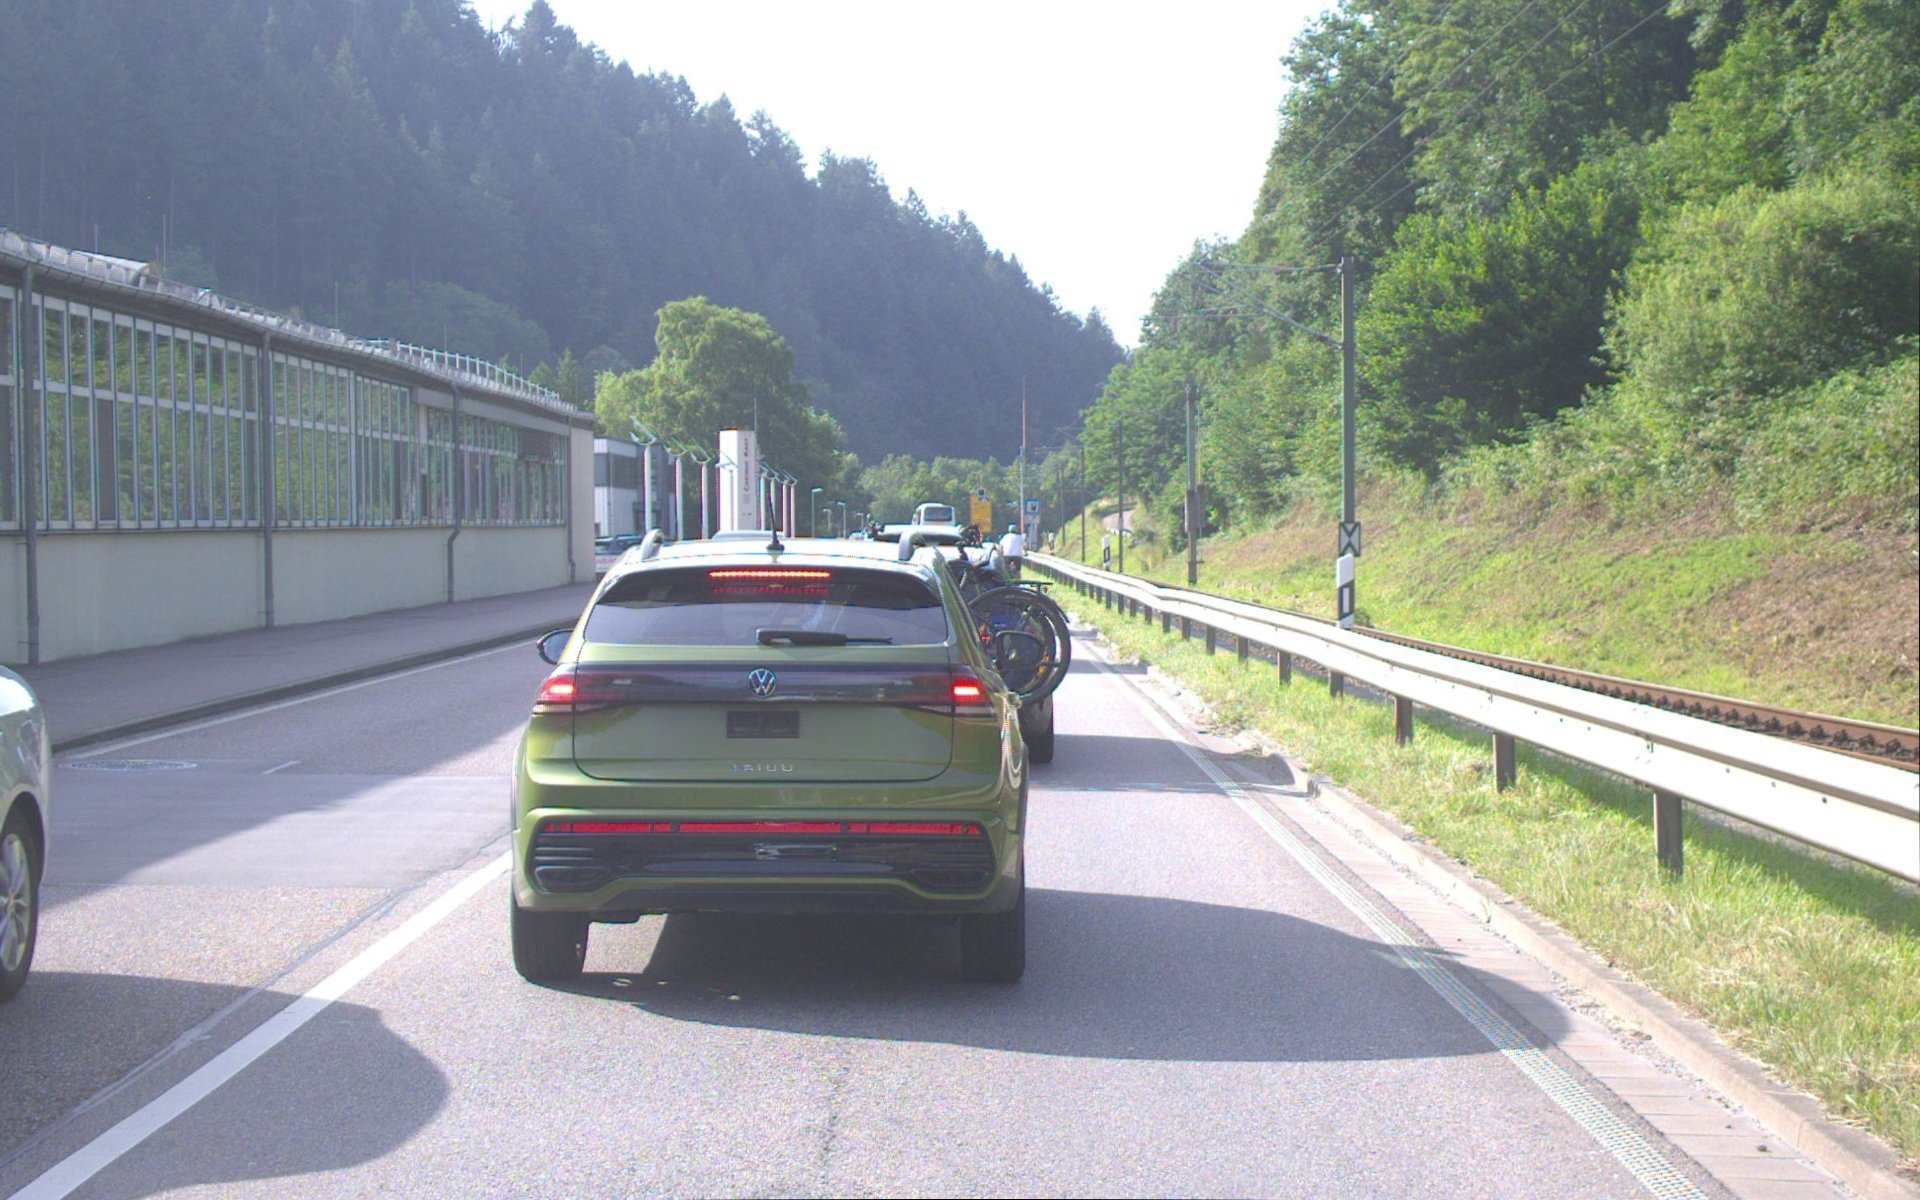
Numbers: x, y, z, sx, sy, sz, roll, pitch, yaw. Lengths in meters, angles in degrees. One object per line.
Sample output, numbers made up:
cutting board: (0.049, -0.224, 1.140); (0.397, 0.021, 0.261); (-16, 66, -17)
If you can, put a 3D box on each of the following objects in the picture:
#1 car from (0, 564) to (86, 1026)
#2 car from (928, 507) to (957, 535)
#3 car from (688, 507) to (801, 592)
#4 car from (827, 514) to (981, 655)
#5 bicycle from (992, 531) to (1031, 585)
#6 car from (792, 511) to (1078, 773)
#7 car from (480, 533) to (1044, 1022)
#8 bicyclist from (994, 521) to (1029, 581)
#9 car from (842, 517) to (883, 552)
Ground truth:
car: (-3.759, 0.615, 9.448); (1.739, 1.388, 4.110); (0, 1, -1)
car: (-1.281, -5.780, 251.153); (1.993, 2.007, 4.000); (1, 1, -1)
car: (-4.204, -1.012, 67.716); (1.930, 1.576, 4.458); (1, 1, 0)
car: (-0.671, -0.220, 41.005); (1.739, 1.596, 4.000); (0, 1, -1)
bicycle: (1.217, -1.010, 81.895); (0.811, 1.246, 2.123); (0, 1, -2)
car: (-0.190, 0.217, 23.073); (1.739, 1.596, 4.000); (0, 1, -1)
car: (-0.647, 0.510, 12.623); (1.739, 1.503, 4.000); (0, 1, -1)
bicyclist: (1.228, -1.171, 81.906); (0.781, 1.407, 0.675); (0, 1, -2)
car: (-4.304, -2.921, 152.142); (1.719, 1.509, 4.199); (1, 1, 0)
